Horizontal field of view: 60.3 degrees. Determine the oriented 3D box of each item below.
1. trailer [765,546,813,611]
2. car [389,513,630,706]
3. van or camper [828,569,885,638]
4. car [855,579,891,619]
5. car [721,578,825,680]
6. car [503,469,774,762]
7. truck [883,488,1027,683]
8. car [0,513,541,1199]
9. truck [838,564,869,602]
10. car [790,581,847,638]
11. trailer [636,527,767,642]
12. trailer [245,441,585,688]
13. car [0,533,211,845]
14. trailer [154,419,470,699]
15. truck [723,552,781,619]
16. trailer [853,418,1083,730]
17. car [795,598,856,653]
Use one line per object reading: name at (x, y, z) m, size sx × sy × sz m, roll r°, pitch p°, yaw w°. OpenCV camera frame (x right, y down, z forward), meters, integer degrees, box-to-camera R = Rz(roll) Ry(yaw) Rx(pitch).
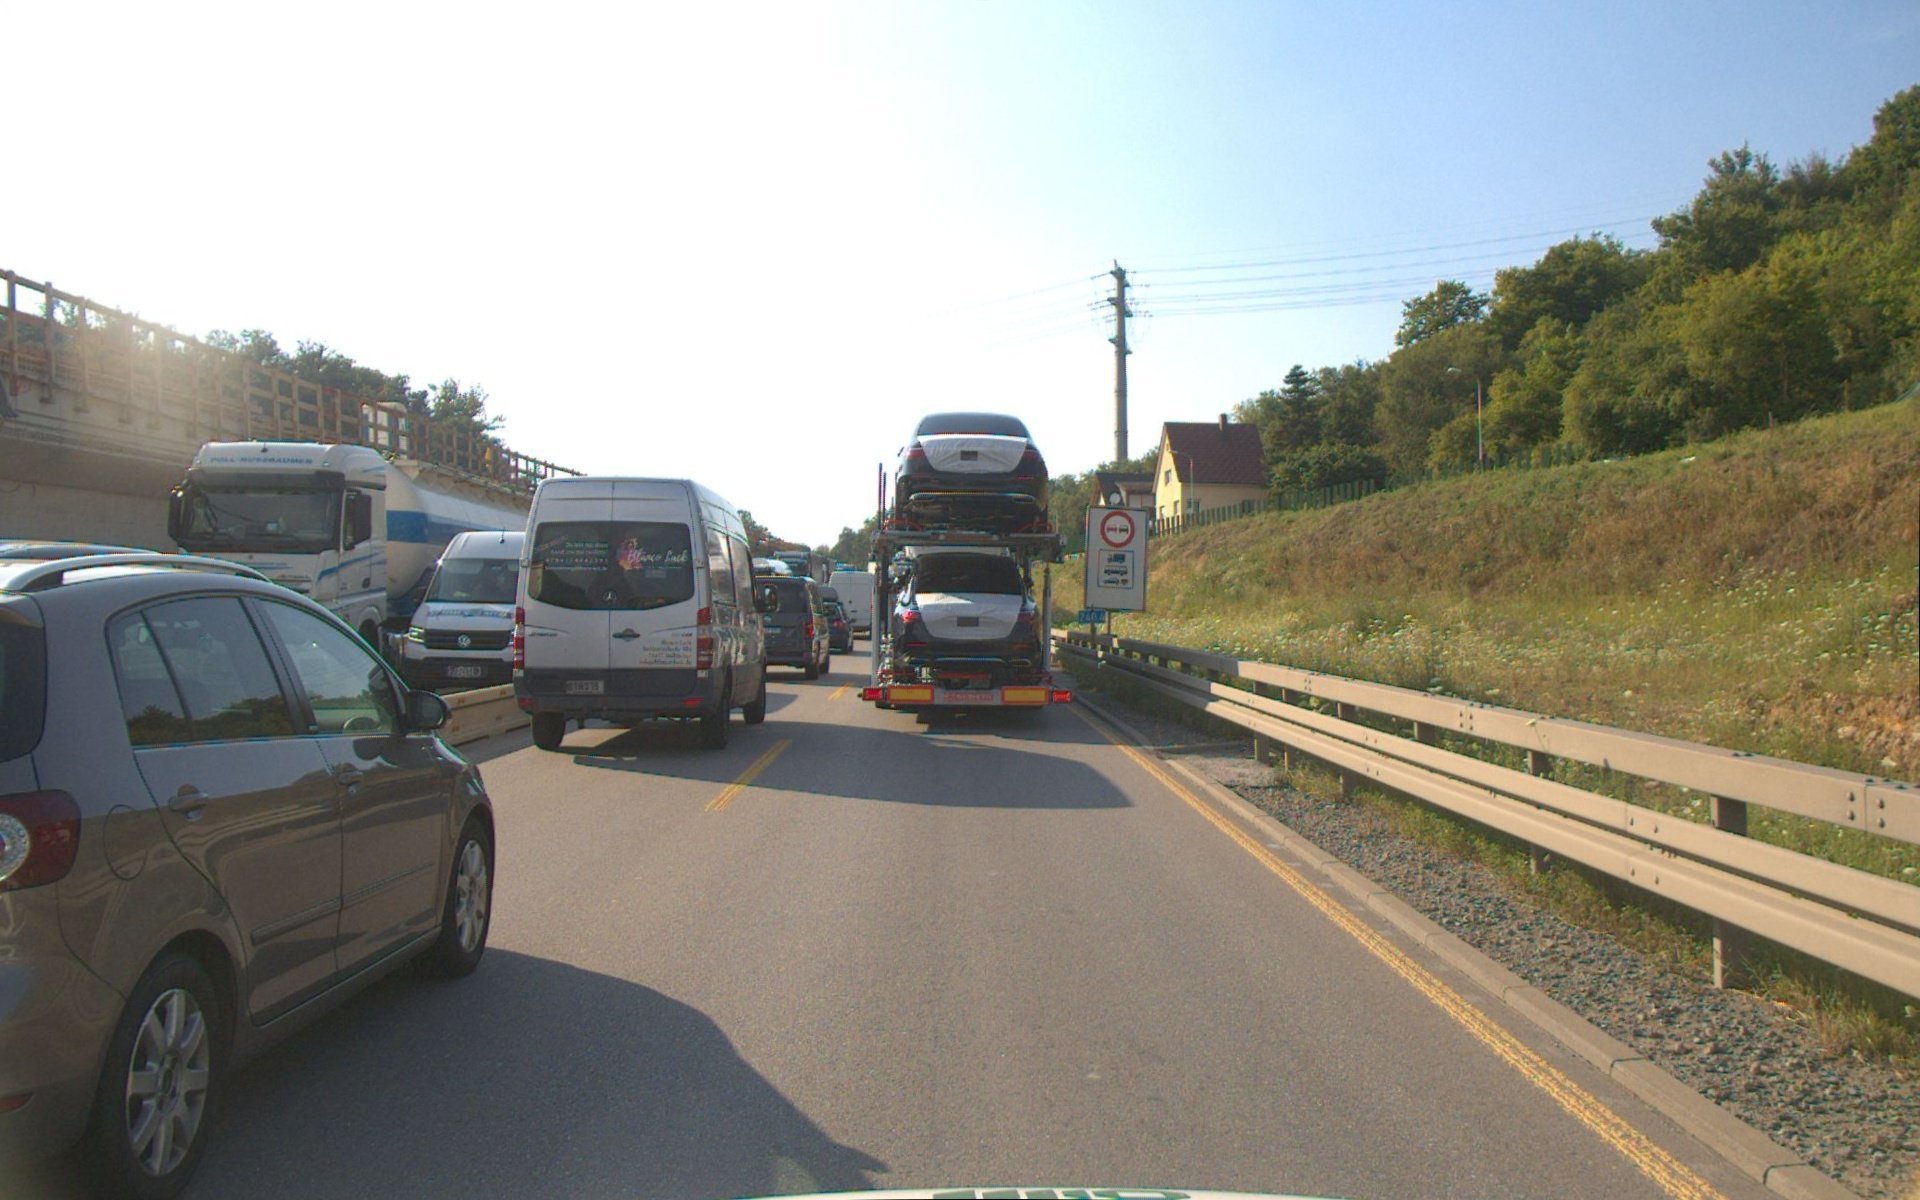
trailer at (-11.474, -1.451, 111.372) m, size 2.708 × 4.213 × 5.975 m, roll 1°, pitch 1°, yaw -1°
car at (-7.029, 0.148, 26.819) m, size 1.953 × 2.668 × 7.408 m, roll 1°, pitch 0°, yaw -1°
van or camper at (-4.142, 0.149, 67.047) m, size 1.928 × 2.637 × 5.041 m, roll 1°, pitch 0°, yaw 0°
car at (-4.695, -0.064, 89.852) m, size 1.848 × 2.136 × 3.764 m, roll 1°, pitch 0°, yaw -2°
car at (-3.751, 0.574, 33.712) m, size 1.772 × 1.937 × 3.998 m, roll 1°, pitch -1°, yaw -2°
car at (-3.283, 0.104, 18.079) m, size 1.953 × 2.694 × 5.529 m, roll 0°, pitch 1°, yaw -1°
truck at (-0.141, -0.261, 34.321) m, size 2.628 × 3.596 × 7.192 m, roll 1°, pitch 0°, yaw -1°
car at (-2.662, 0.664, 5.266) m, size 1.646 × 1.616 × 4.270 m, roll 0°, pitch -1°, yaw -1°
truck at (-10.300, -1.620, 161.020) m, size 2.660 × 3.484 × 8.137 m, roll -2°, pitch 0°, yaw -2°
car at (-6.525, 0.429, 76.882) m, size 2.422 × 2.578 × 3.999 m, roll 0°, pitch 0°, yaw -2°
trailer at (-10.230, -0.516, 67.379) m, size 2.714 × 4.101 × 15.763 m, roll 1°, pitch 0°, yaw 0°
trailer at (-10.266, -0.544, 33.292) m, size 2.598 × 3.918 × 13.439 m, roll 1°, pitch 0°, yaw -1°
car at (-6.649, 0.525, 10.370) m, size 1.745 × 1.875 × 4.852 m, roll 1°, pitch 0°, yaw -1°
trailer at (-10.129, -0.569, 26.639) m, size 2.598 × 3.918 × 6.427 m, roll 1°, pitch 0°, yaw -1°
truck at (-11.158, -0.726, 89.293) m, size 2.497 × 3.469 × 5.530 m, roll 1°, pitch 0°, yaw -1°
trailer at (-0.018, -0.291, 26.909) m, size 2.628 × 3.596 × 15.285 m, roll 1°, pitch 0°, yaw -1°
car at (-4.113, 0.766, 51.121) m, size 1.691 × 1.549 × 3.971 m, roll 1°, pitch 1°, yaw -2°
